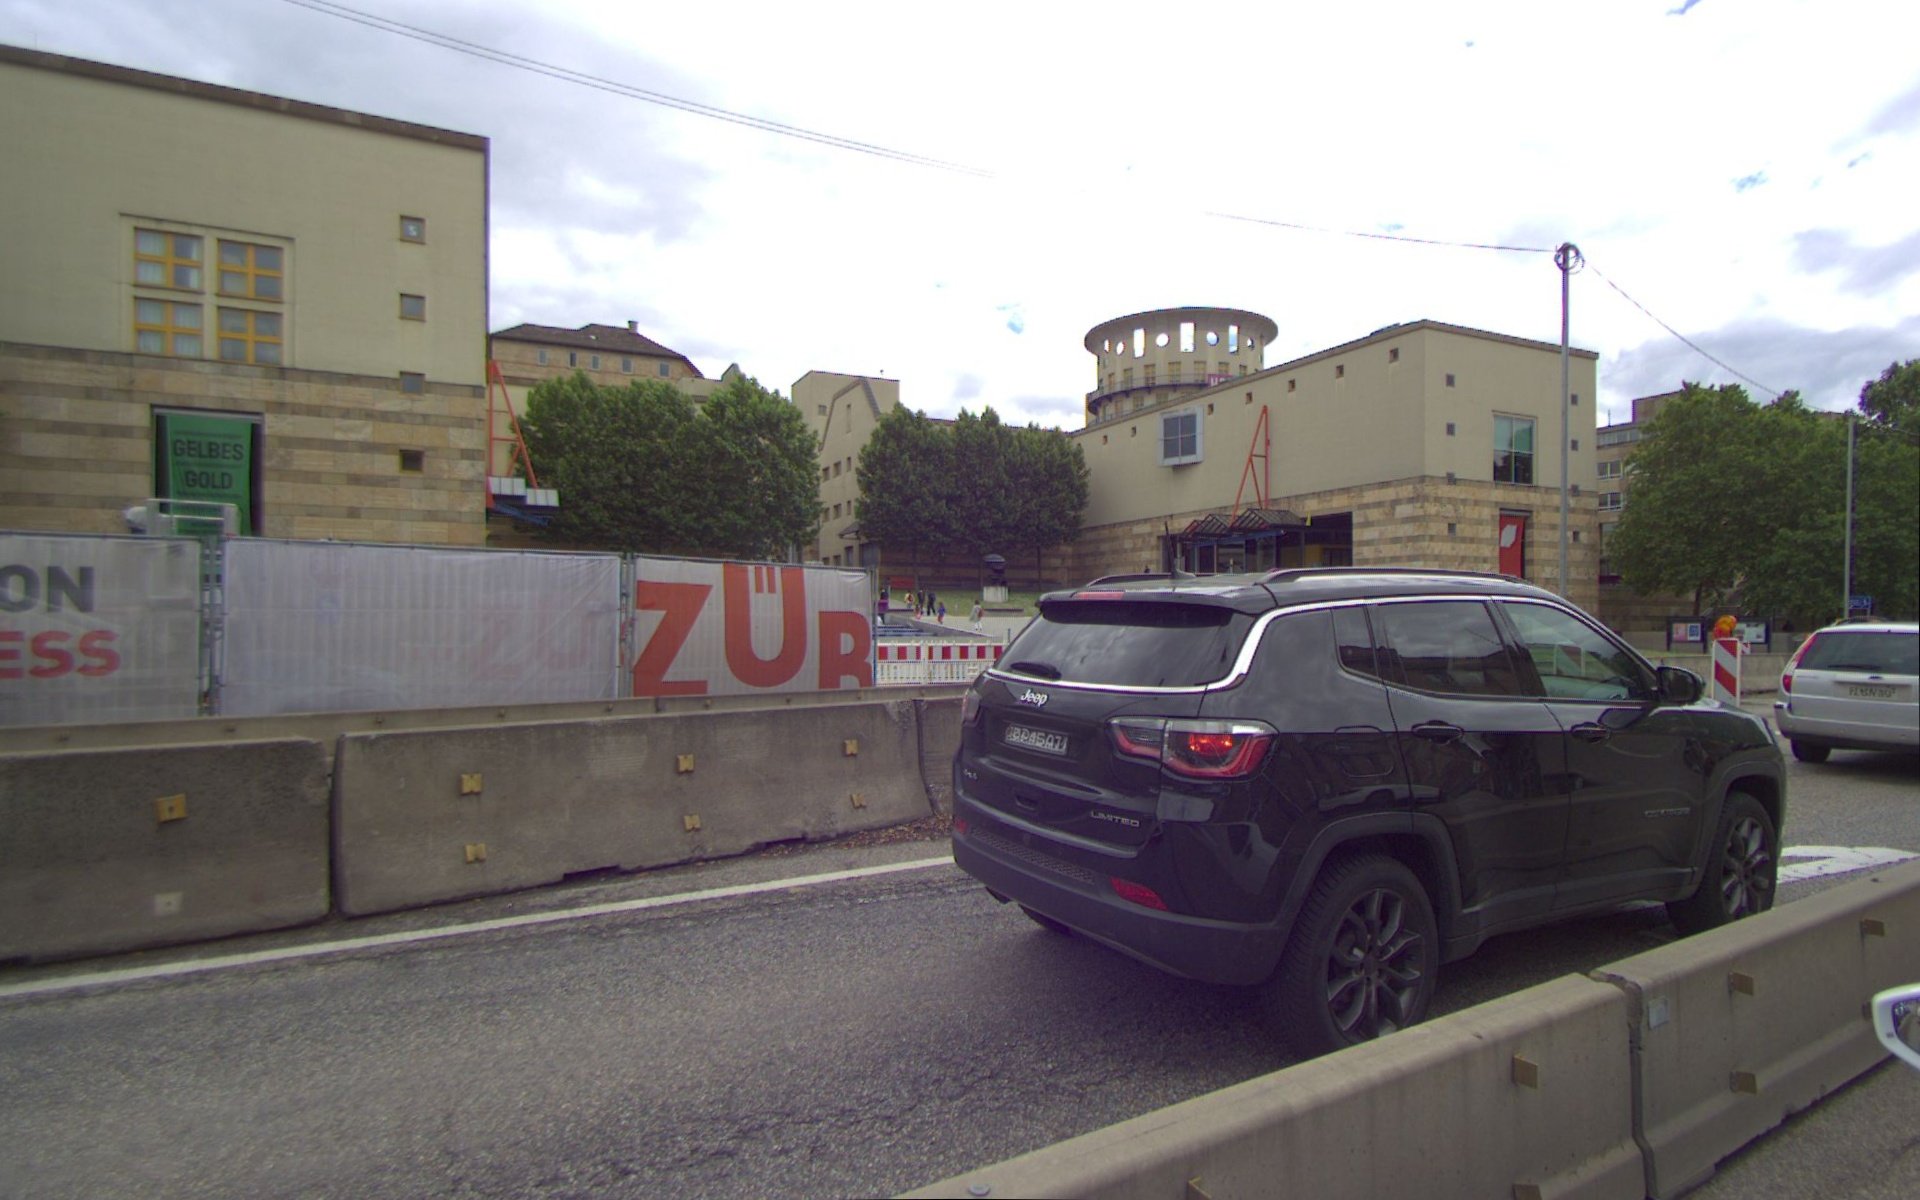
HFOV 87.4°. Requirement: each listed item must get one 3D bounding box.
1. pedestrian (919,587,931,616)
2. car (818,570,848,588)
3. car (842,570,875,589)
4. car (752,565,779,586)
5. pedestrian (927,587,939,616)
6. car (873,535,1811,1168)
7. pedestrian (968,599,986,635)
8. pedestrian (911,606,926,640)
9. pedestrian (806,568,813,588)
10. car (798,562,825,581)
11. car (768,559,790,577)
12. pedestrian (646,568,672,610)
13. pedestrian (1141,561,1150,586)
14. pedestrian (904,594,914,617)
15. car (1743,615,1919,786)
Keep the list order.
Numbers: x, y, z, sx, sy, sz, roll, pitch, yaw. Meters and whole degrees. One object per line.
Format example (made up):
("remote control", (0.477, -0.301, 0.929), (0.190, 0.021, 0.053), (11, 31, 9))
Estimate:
("pedestrian", (-2.174, 0.076, 62.539), (0.472, 1.772, 0.642), (1, 0, -27))
("car", (-11.626, -1.935, 92.041), (1.589, 1.557, 3.782), (1, 1, -26))
("car", (-8.700, -1.751, 85.627), (1.589, 1.557, 3.782), (1, 1, -26))
("car", (-17.209, -2.144, 88.663), (1.587, 1.822, 3.786), (1, 1, -23))
("pedestrian", (-1.698, 0.089, 62.779), (0.472, 1.772, 0.642), (1, 0, -27))
("car", (1.811, 0.691, 4.413), (4.000, 1.642, 1.767), (2, 0, -31))
("pedestrian", (0.850, 0.827, 49.221), (0.690, 1.717, 0.522), (1, 0, -29))
("pedestrian", (-2.116, 1.150, 50.998), (0.519, 1.717, 0.694), (1, 0, -26))
("pedestrian", (-13.574, -1.993, 90.628), (0.534, 1.808, 0.464), (1, 0, -23))
("car", (-14.535, -2.801, 98.140), (1.589, 1.822, 3.782), (1, 1, -26))
("car", (-19.952, -3.508, 110.617), (1.587, 1.822, 3.786), (1, 1, -23))
("pedestrian", (-14.801, -0.536, 49.388), (1.077, 2.041, 0.916), (1, 1, -22))
("pedestrian", (15.287, -2.197, 82.718), (0.593, 2.041, 0.410), (1, 1, -27))
("pedestrian", (-3.183, 0.341, 63.014), (0.472, 1.441, 0.402), (1, 0, -28))
("car", (10.352, 0.955, 10.600), (4.654, 1.501, 1.867), (1, 0, -33))
